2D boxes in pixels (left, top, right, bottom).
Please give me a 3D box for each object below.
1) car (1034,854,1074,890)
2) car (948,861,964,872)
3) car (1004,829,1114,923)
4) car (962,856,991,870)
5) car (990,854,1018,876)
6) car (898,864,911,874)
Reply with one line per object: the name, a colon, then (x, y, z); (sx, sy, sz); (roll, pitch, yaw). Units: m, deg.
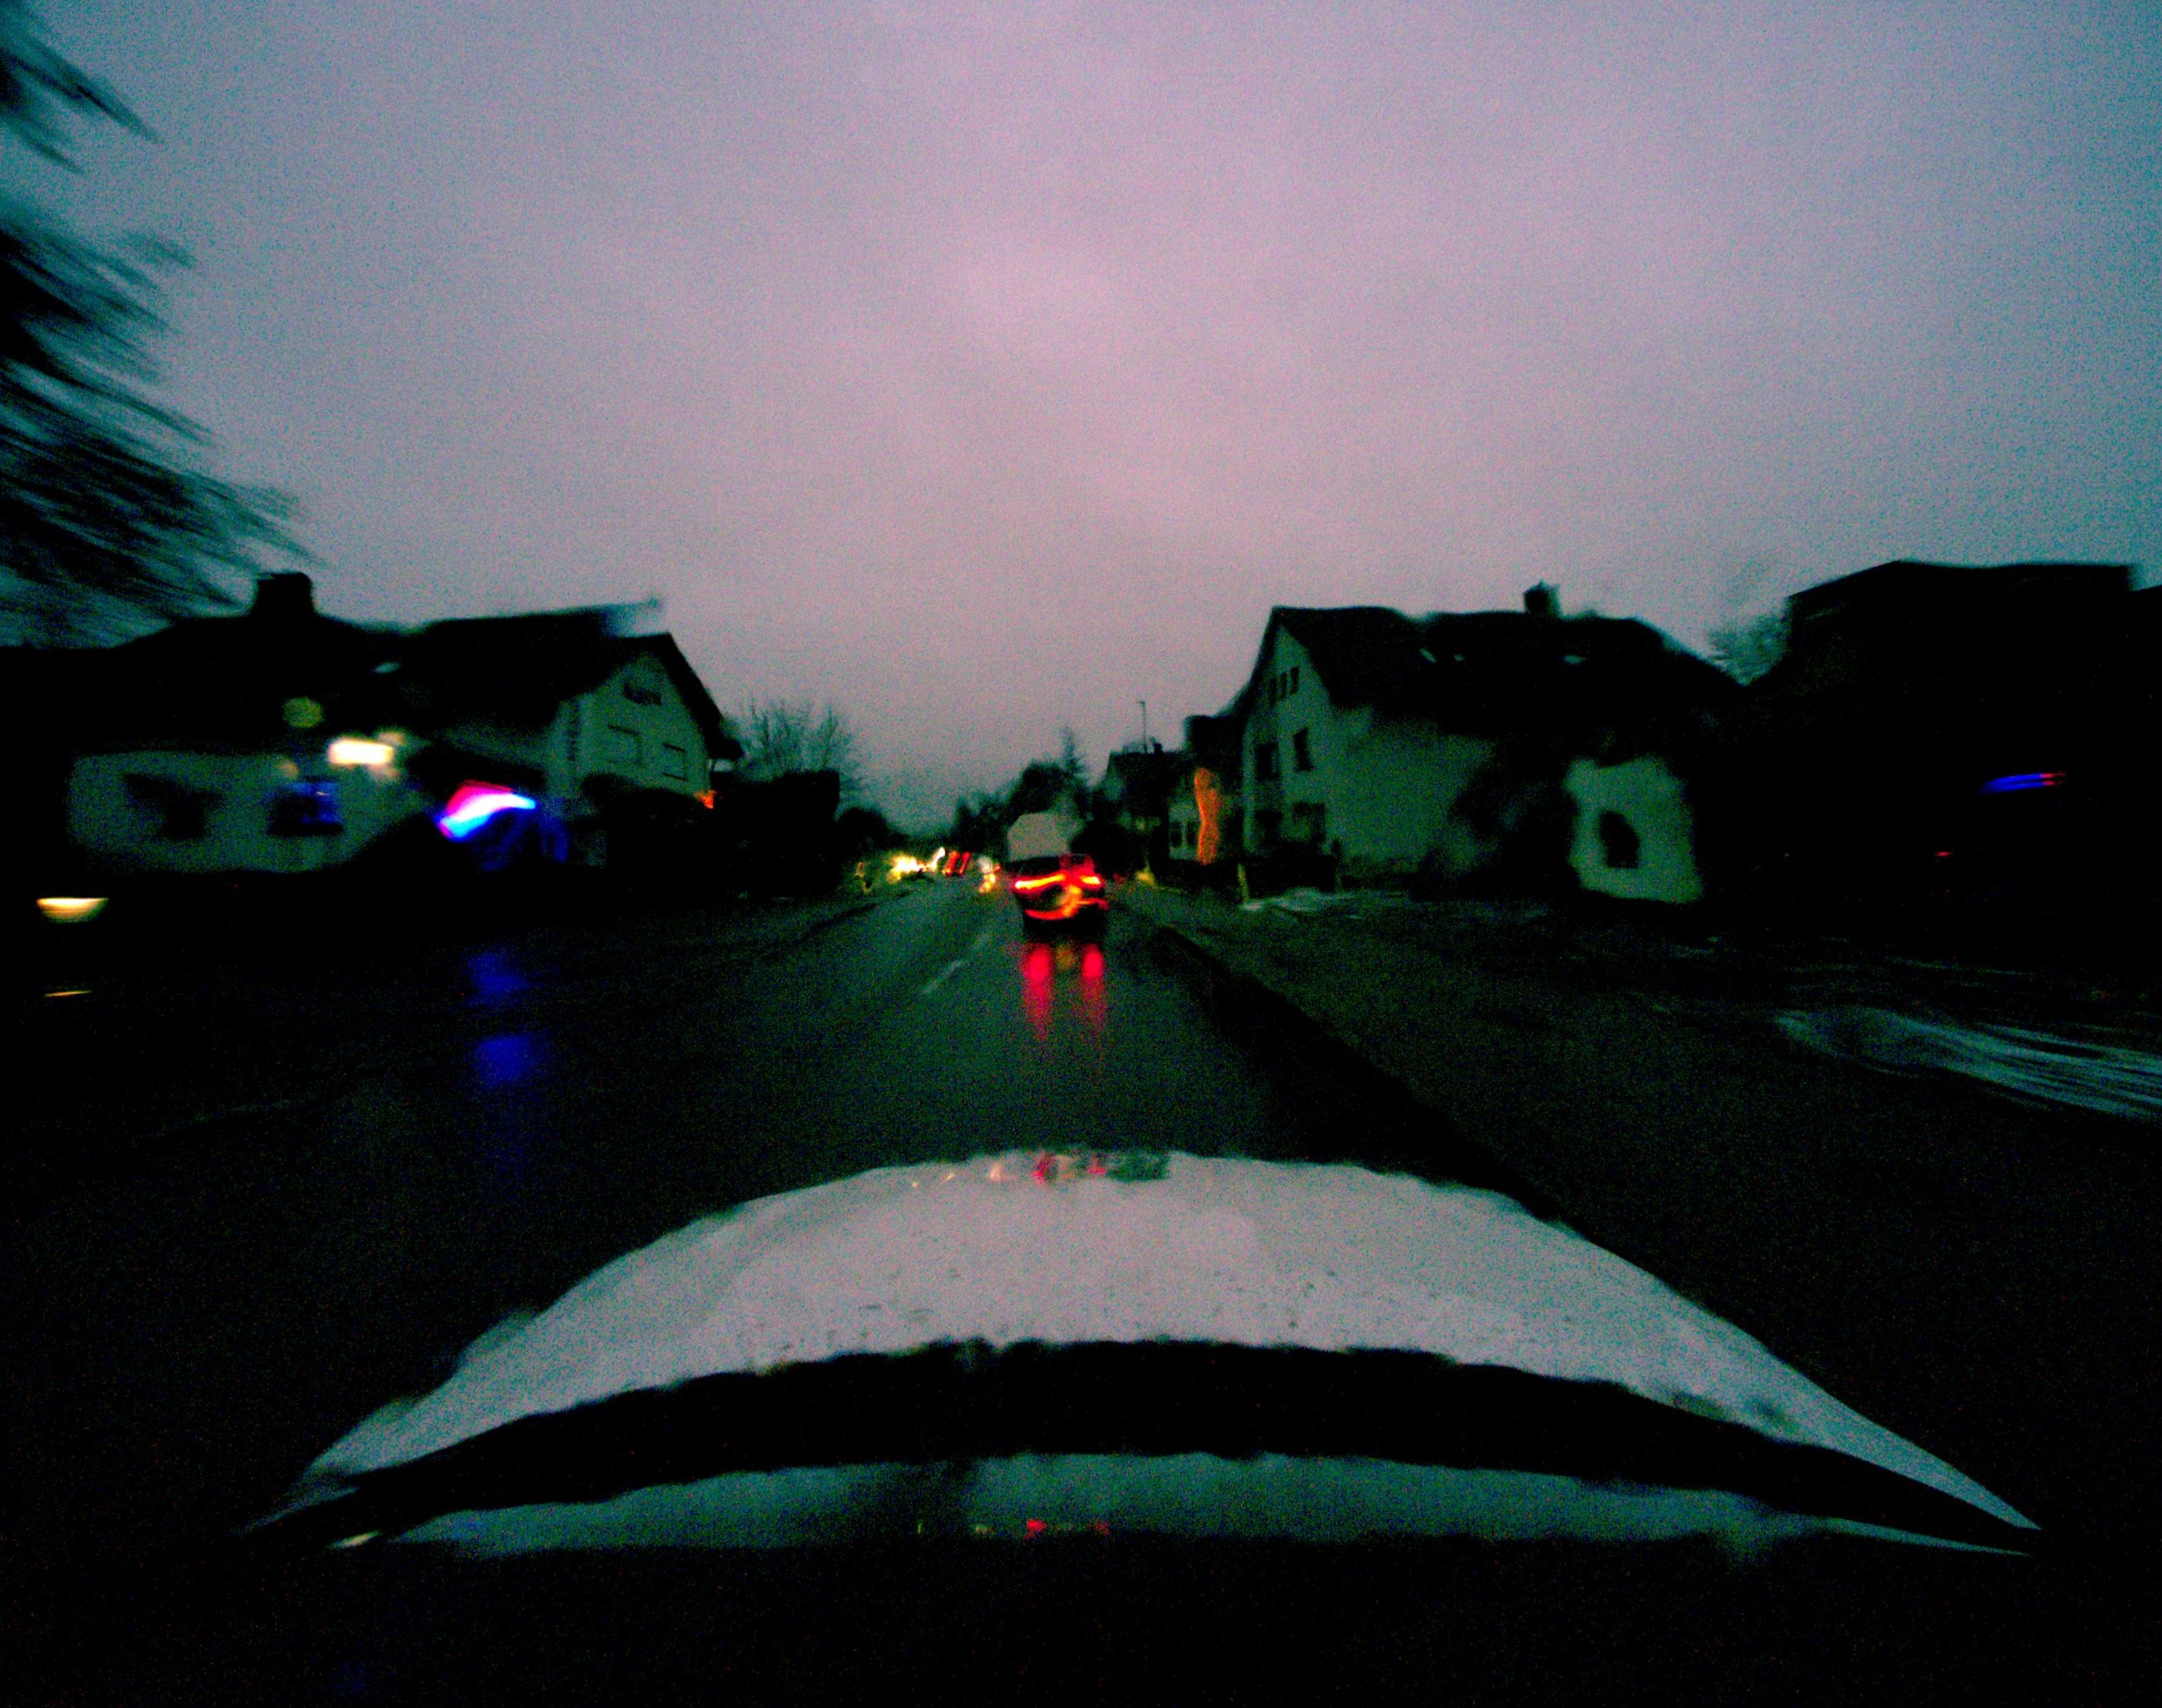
car: (-1.396, 0.837, 40.331); (1.854, 1.647, 3.995); (-1, 0, -3)
car: (-16.289, 1.648, 106.086); (1.843, 1.331, 3.922); (-2, 0, -11)
car: (-0.509, 0.509, 20.068); (2.303, 1.938, 5.015); (-2, -1, -1)
car: (-15.785, 1.378, 122.753); (4.249, 2.013, 1.803); (-2, 0, -12)
car: (-7.602, 1.078, 79.766); (2.309, 1.938, 5.001); (-2, -1, -9)
car: (-29.568, 2.494, 136.355); (1.826, 1.554, 3.981); (-3, 0, -14)
